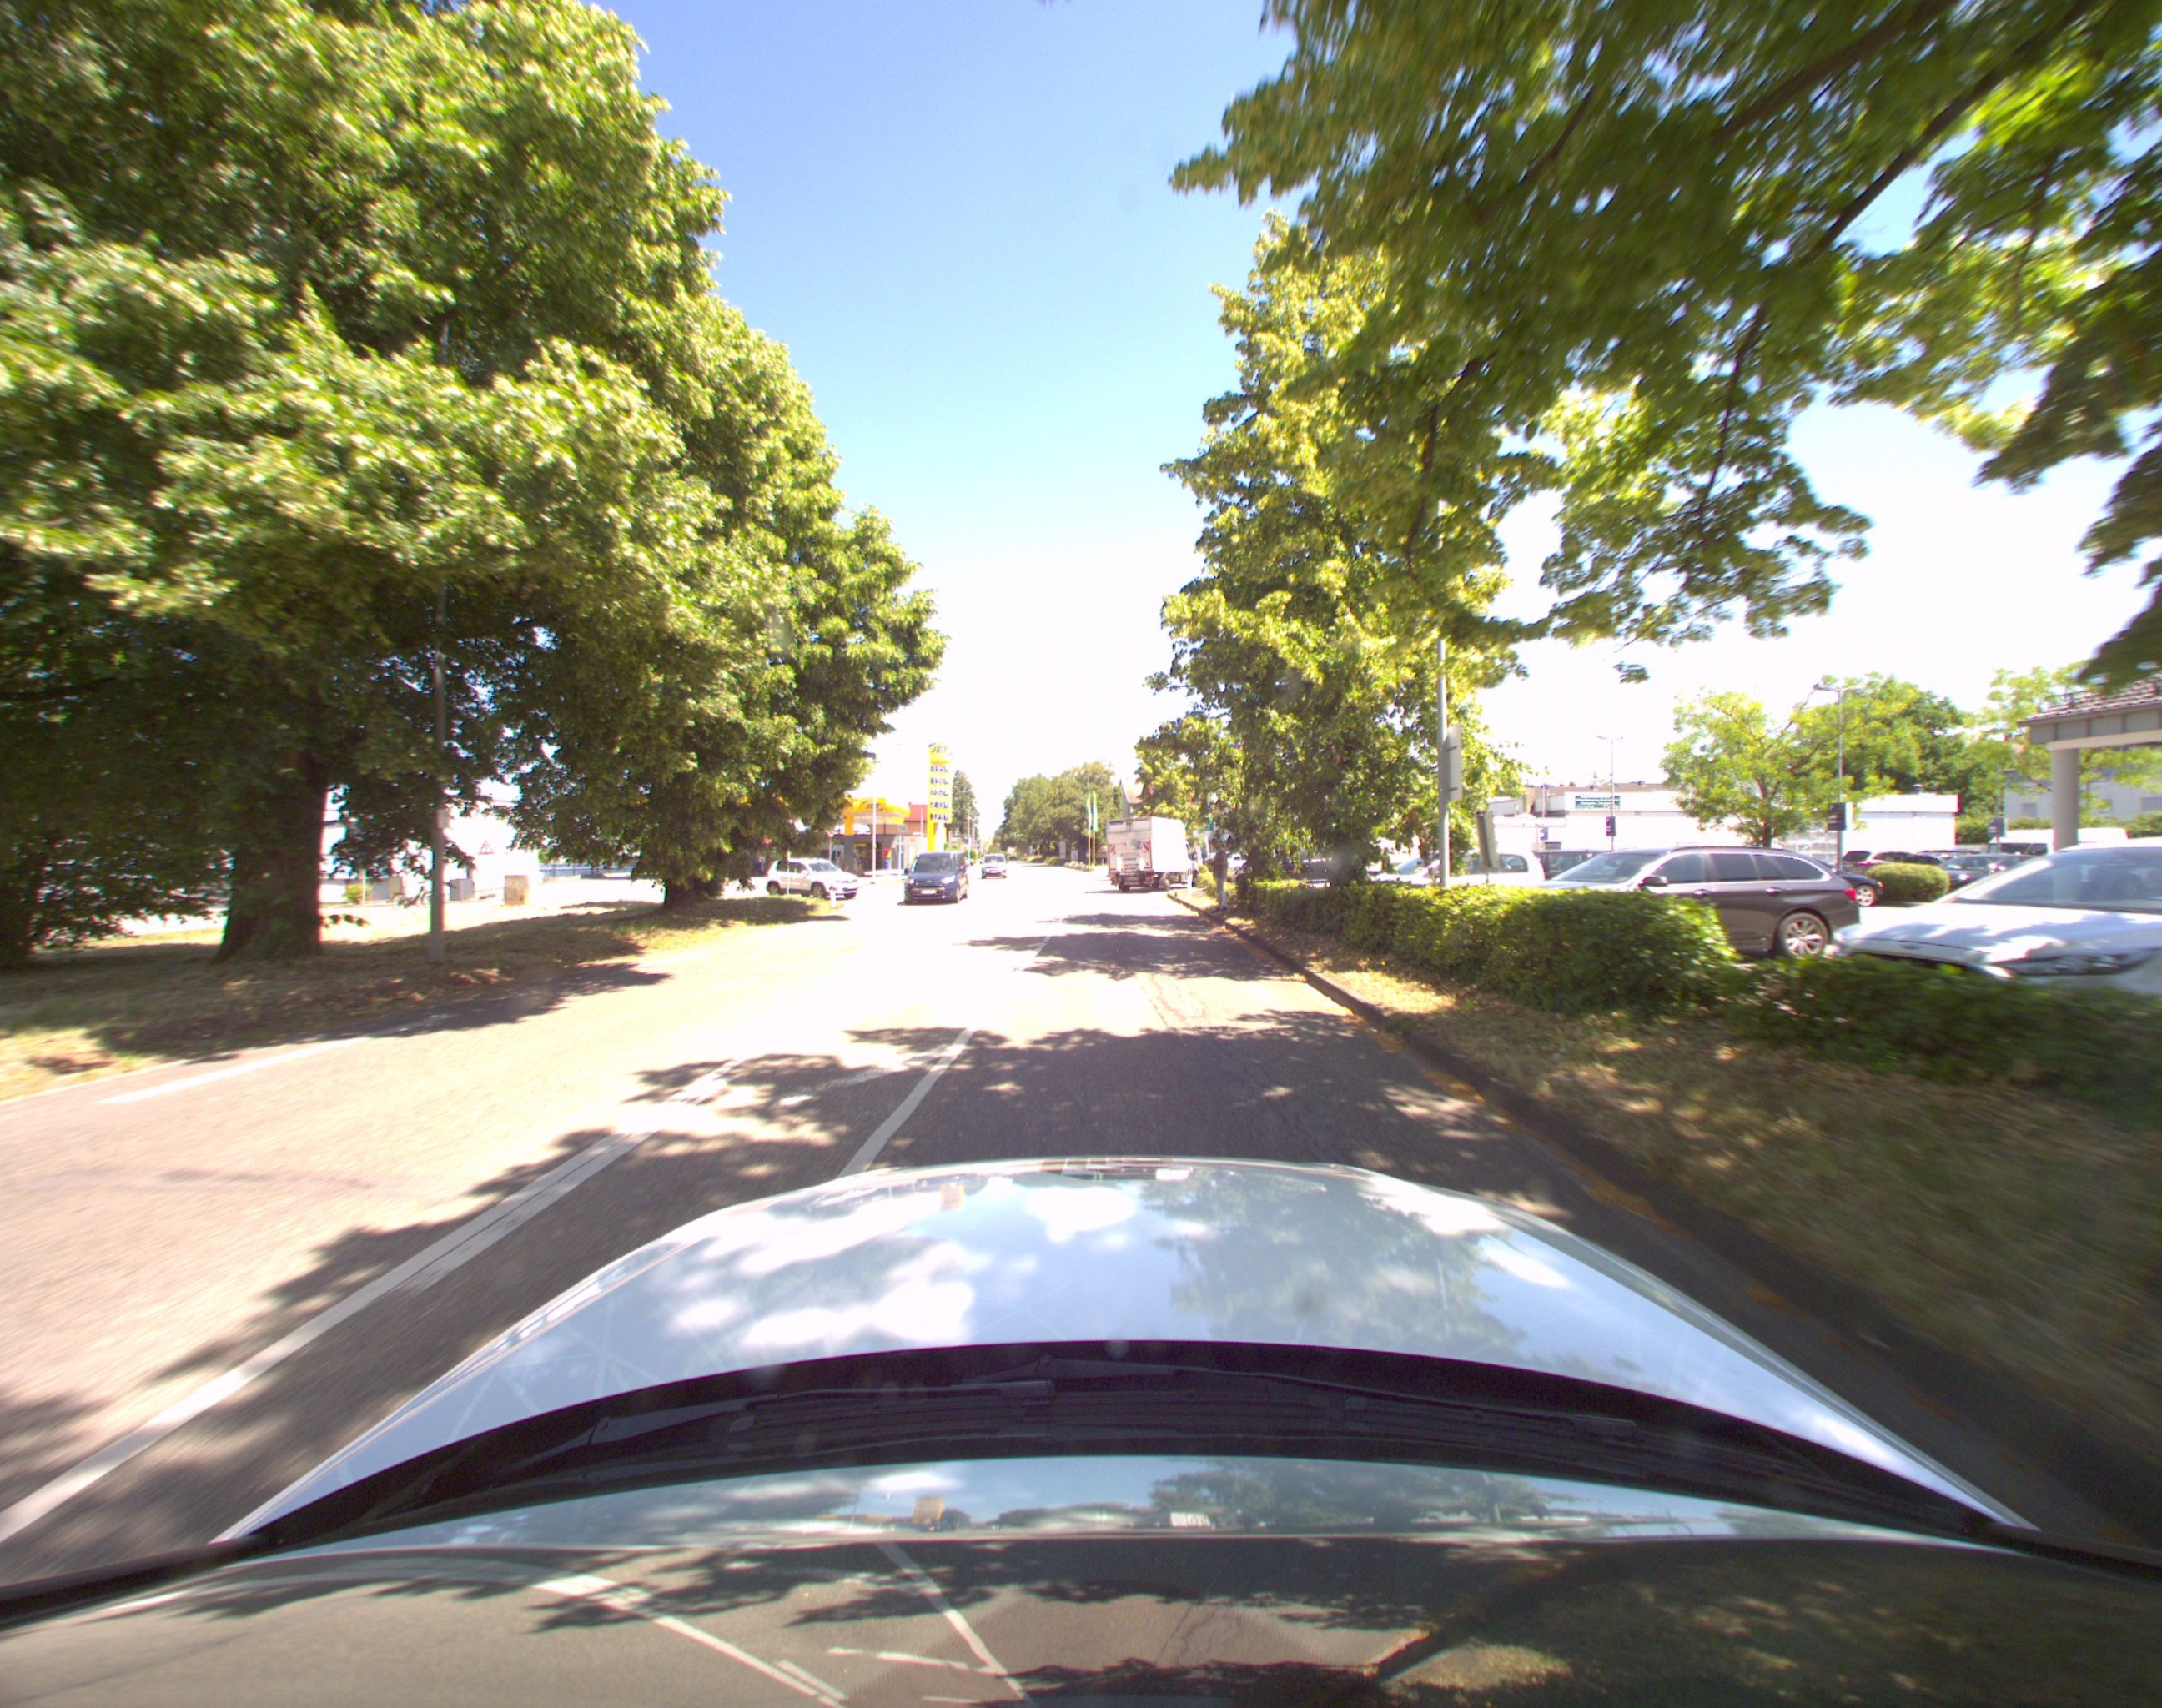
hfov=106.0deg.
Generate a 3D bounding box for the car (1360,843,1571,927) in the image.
[{"bbox_3d":[7.378,0.552,15.809,3.392,1.506,1.579,-1,0,-5],"label":"car"}]

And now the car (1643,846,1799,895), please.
[{"bbox_3d":[19.990,0.505,25.546,3.587,1.457,1.745,0,0,-2],"label":"car"}]

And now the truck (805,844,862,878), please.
[{"bbox_3d":[-19.563,0.539,64.677,2.225,2.598,6.735,0,0,2],"label":"truck"}]

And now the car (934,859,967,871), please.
[{"bbox_3d":[-16.972,1.427,106.261,4.122,1.444,1.822,0,-1,-7],"label":"car"}]

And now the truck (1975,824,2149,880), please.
[{"bbox_3d":[44.776,-0.091,37.261,5.452,2.457,2.179,0,-1,-1],"label":"truck"}]

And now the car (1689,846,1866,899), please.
[{"bbox_3d":[19.363,0.503,22.735,3.587,1.417,1.670,0,0,-2],"label":"car"}]

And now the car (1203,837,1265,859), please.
[{"bbox_3d":[11.804,-0.431,62.787,4.550,1.642,2.007,-1,-1,13],"label":"car"}]

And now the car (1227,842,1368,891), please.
[{"bbox_3d":[7.463,0.424,28.424,4.496,1.667,1.895,0,0,2],"label":"car"}]

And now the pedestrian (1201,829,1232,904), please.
[{"bbox_3d":[3.293,0.305,19.824,0.725,1.789,0.622,0,-1,7],"label":"pedestrian"}]

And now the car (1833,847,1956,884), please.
[{"bbox_3d":[36.694,0.509,36.803,3.846,1.649,1.652,0,-1,2],"label":"car"}]

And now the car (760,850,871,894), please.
[{"bbox_3d":[-10.854,0.685,33.251,4.194,1.672,1.988,0,0,30],"label":"car"}]

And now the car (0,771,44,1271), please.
[{"bbox_3d":[-4.849,0.628,0.431,1.872,1.834,5.295,-1,0,-1],"label":"car"}]

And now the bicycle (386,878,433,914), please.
[{"bbox_3d":[-26.322,1.641,31.927,1.529,1.349,0.395,-1,0,4],"label":"bicycle"}]

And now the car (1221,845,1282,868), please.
[{"bbox_3d":[11.502,0.186,55.052,3.963,1.460,1.810,-1,-1,9],"label":"car"}]

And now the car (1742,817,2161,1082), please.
[{"bbox_3d":[7.274,0.510,5.495,4.222,1.411,1.950,0,0,-5],"label":"car"}]

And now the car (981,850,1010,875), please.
[{"bbox_3d":[-6.238,0.576,59.479,1.791,1.772,4.361,-1,0,-2],"label":"car"}]

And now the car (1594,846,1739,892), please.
[{"bbox_3d":[19.984,0.507,27.888,3.712,1.504,1.817,0,0,-2],"label":"car"}]

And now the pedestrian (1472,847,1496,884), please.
[{"bbox_3d":[17.418,0.479,35.214,0.676,1.592,0.706,0,-1,-1],"label":"pedestrian"}]

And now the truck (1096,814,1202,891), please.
[{"bbox_3d":[3.029,-0.080,34.533,2.392,2.948,5.989,0,0,26],"label":"truck"}]

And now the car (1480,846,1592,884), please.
[{"bbox_3d":[19.982,0.476,35.863,4.012,1.563,1.806,1,-1,-4],"label":"car"}]

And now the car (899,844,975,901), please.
[{"bbox_3d":[-4.989,0.602,28.833,1.818,1.781,4.780,-2,0,-1],"label":"car"}]

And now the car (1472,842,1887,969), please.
[{"bbox_3d":[7.703,0.608,10.732,4.303,1.481,1.806,0,0,-5],"label":"car"}]

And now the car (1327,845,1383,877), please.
[{"bbox_3d":[16.676,0.434,49.768,1.703,1.890,4.249,0,-1,-5],"label":"car"}]

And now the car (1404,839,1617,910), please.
[{"bbox_3d":[10.043,0.426,19.161,4.245,1.504,1.757,0,0,35],"label":"car"}]

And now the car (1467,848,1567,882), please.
[{"bbox_3d":[20.613,0.538,38.592,3.983,1.532,1.648,1,-1,-7],"label":"car"}]

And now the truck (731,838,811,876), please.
[{"bbox_3d":[-25.037,0.279,66.199,2.620,2.913,6.758,0,-1,15],"label":"truck"}]
